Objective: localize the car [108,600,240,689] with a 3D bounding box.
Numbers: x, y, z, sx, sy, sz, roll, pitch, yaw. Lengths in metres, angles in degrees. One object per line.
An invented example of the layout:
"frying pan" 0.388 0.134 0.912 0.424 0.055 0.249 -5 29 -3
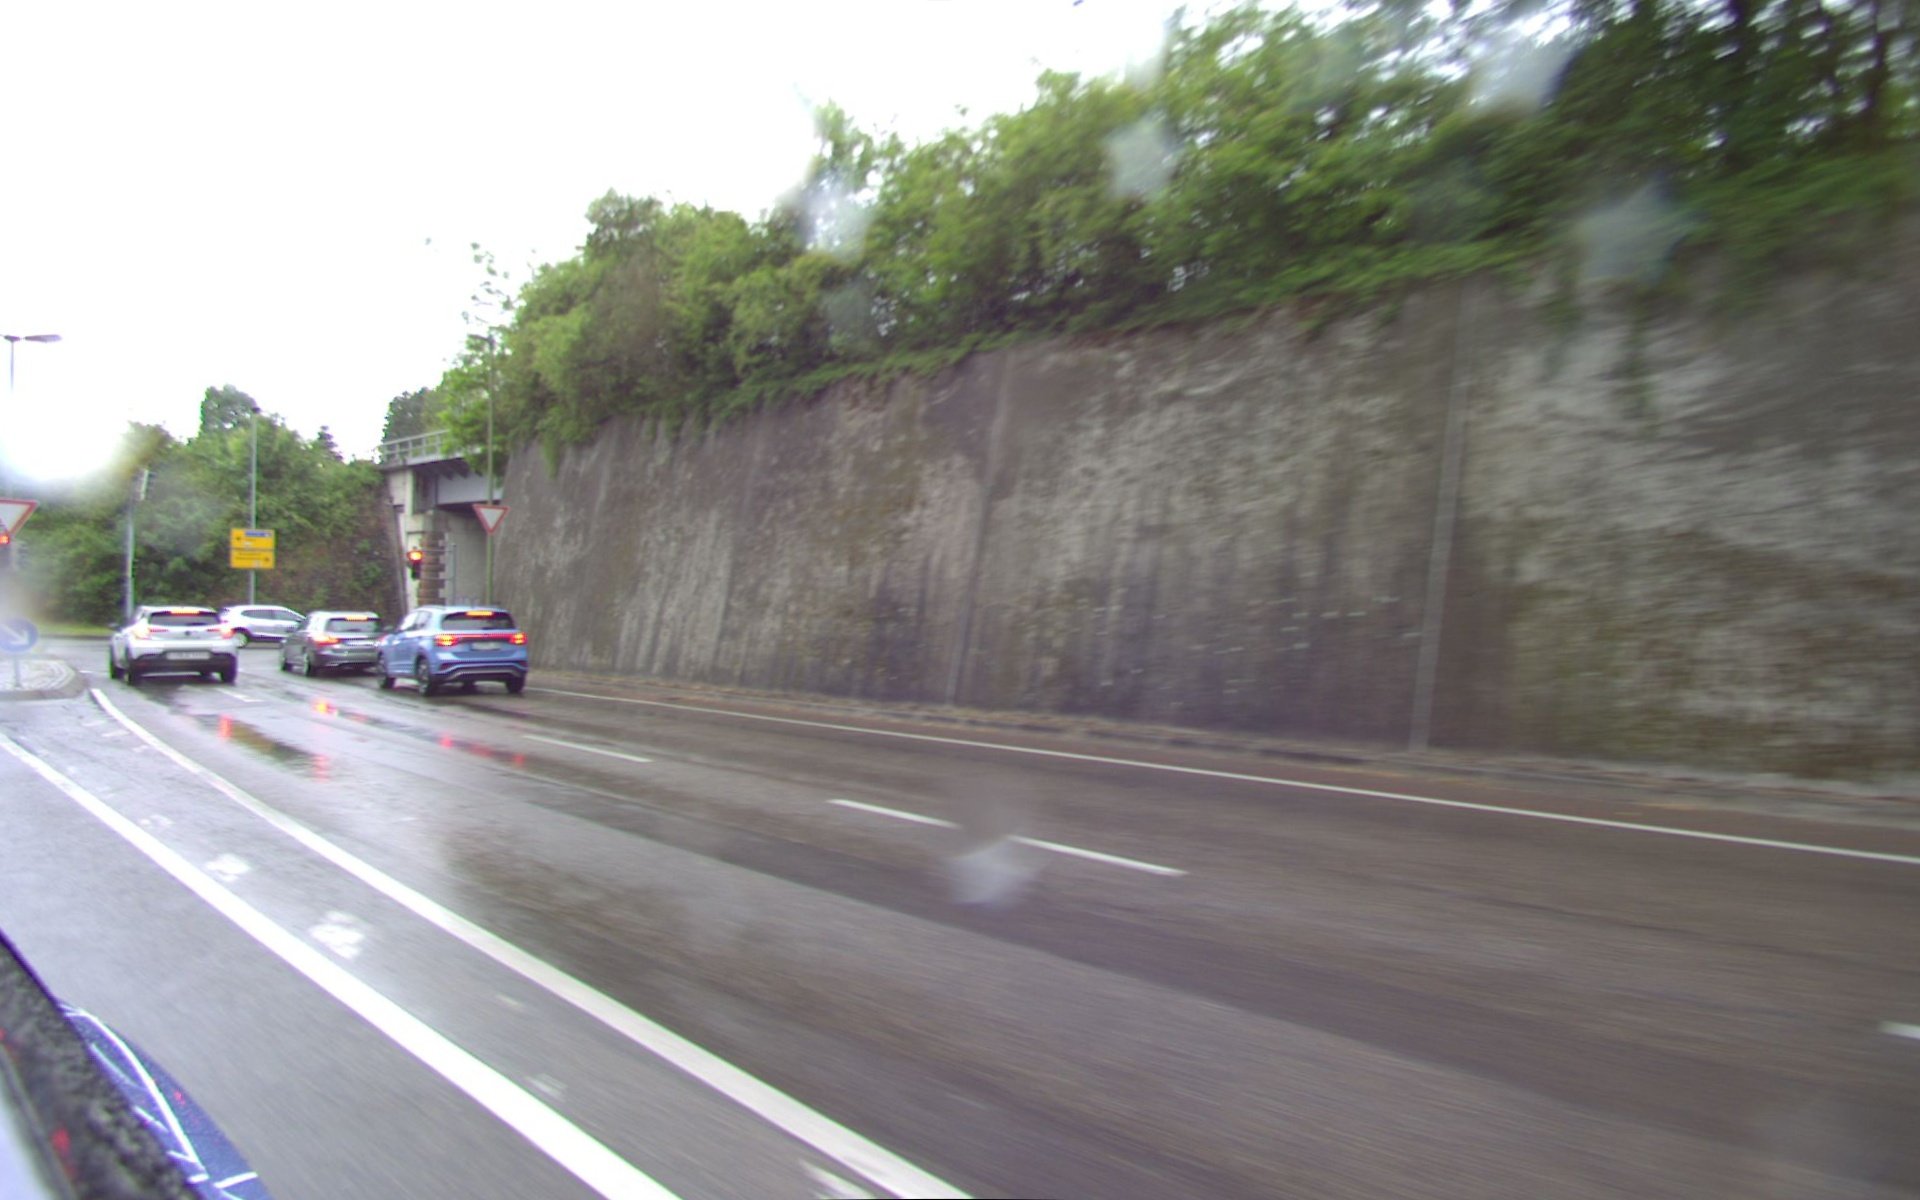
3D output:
"car" -16.582 0.843 21.267 1.846 1.613 4.005 1 0 -43

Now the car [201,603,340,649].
"car" -25.296 0.973 37.223 4.085 1.519 1.686 3 -3 -37

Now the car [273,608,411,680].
"car" -14.831 1.016 24.168 1.969 1.514 4.736 4 -3 -41

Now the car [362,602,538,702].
"car" -9.667 0.876 19.053 1.794 1.670 4.053 1 0 -45
